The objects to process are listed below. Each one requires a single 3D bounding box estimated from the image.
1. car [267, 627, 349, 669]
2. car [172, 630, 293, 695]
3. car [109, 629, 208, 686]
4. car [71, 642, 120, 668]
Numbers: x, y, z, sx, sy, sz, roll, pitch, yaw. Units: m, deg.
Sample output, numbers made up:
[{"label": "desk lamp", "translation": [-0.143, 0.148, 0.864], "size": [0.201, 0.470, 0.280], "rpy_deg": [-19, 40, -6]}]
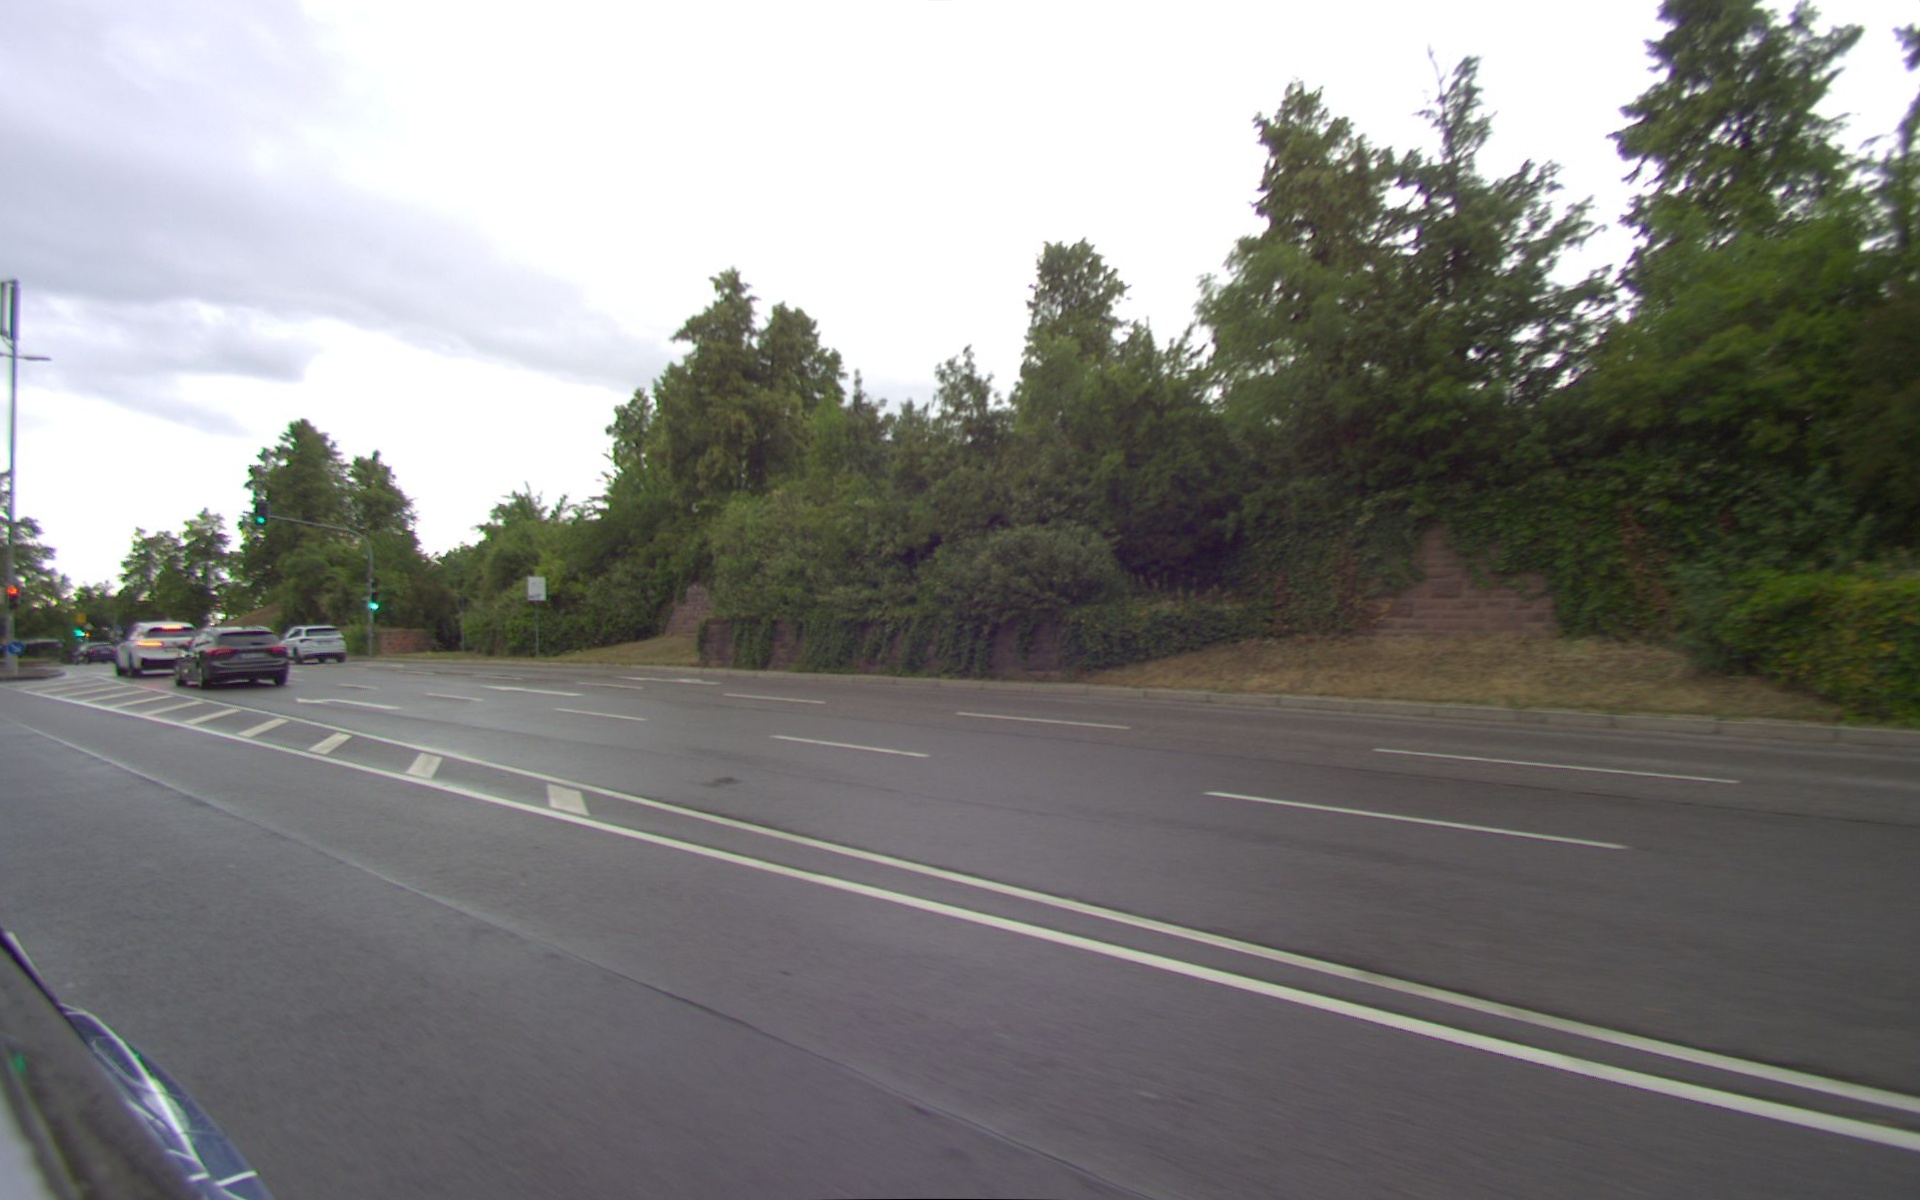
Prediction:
[{"label": "car", "translation": [-27.711, 2.032, 42.955], "size": [4.450, 1.668, 1.865], "rpy_deg": [-2, -2, 43]}, {"label": "car", "translation": [-18.277, 1.520, 25.364], "size": [3.997, 1.479, 1.757], "rpy_deg": [-2, -2, 43]}, {"label": "car", "translation": [-25.726, 1.790, 32.449], "size": [4.450, 1.668, 1.865], "rpy_deg": [-2, -2, 43]}, {"label": "car", "translation": [-58.939, 3.700, 68.997], "size": [4.337, 1.668, 1.867], "rpy_deg": [-2, -2, 40]}]
